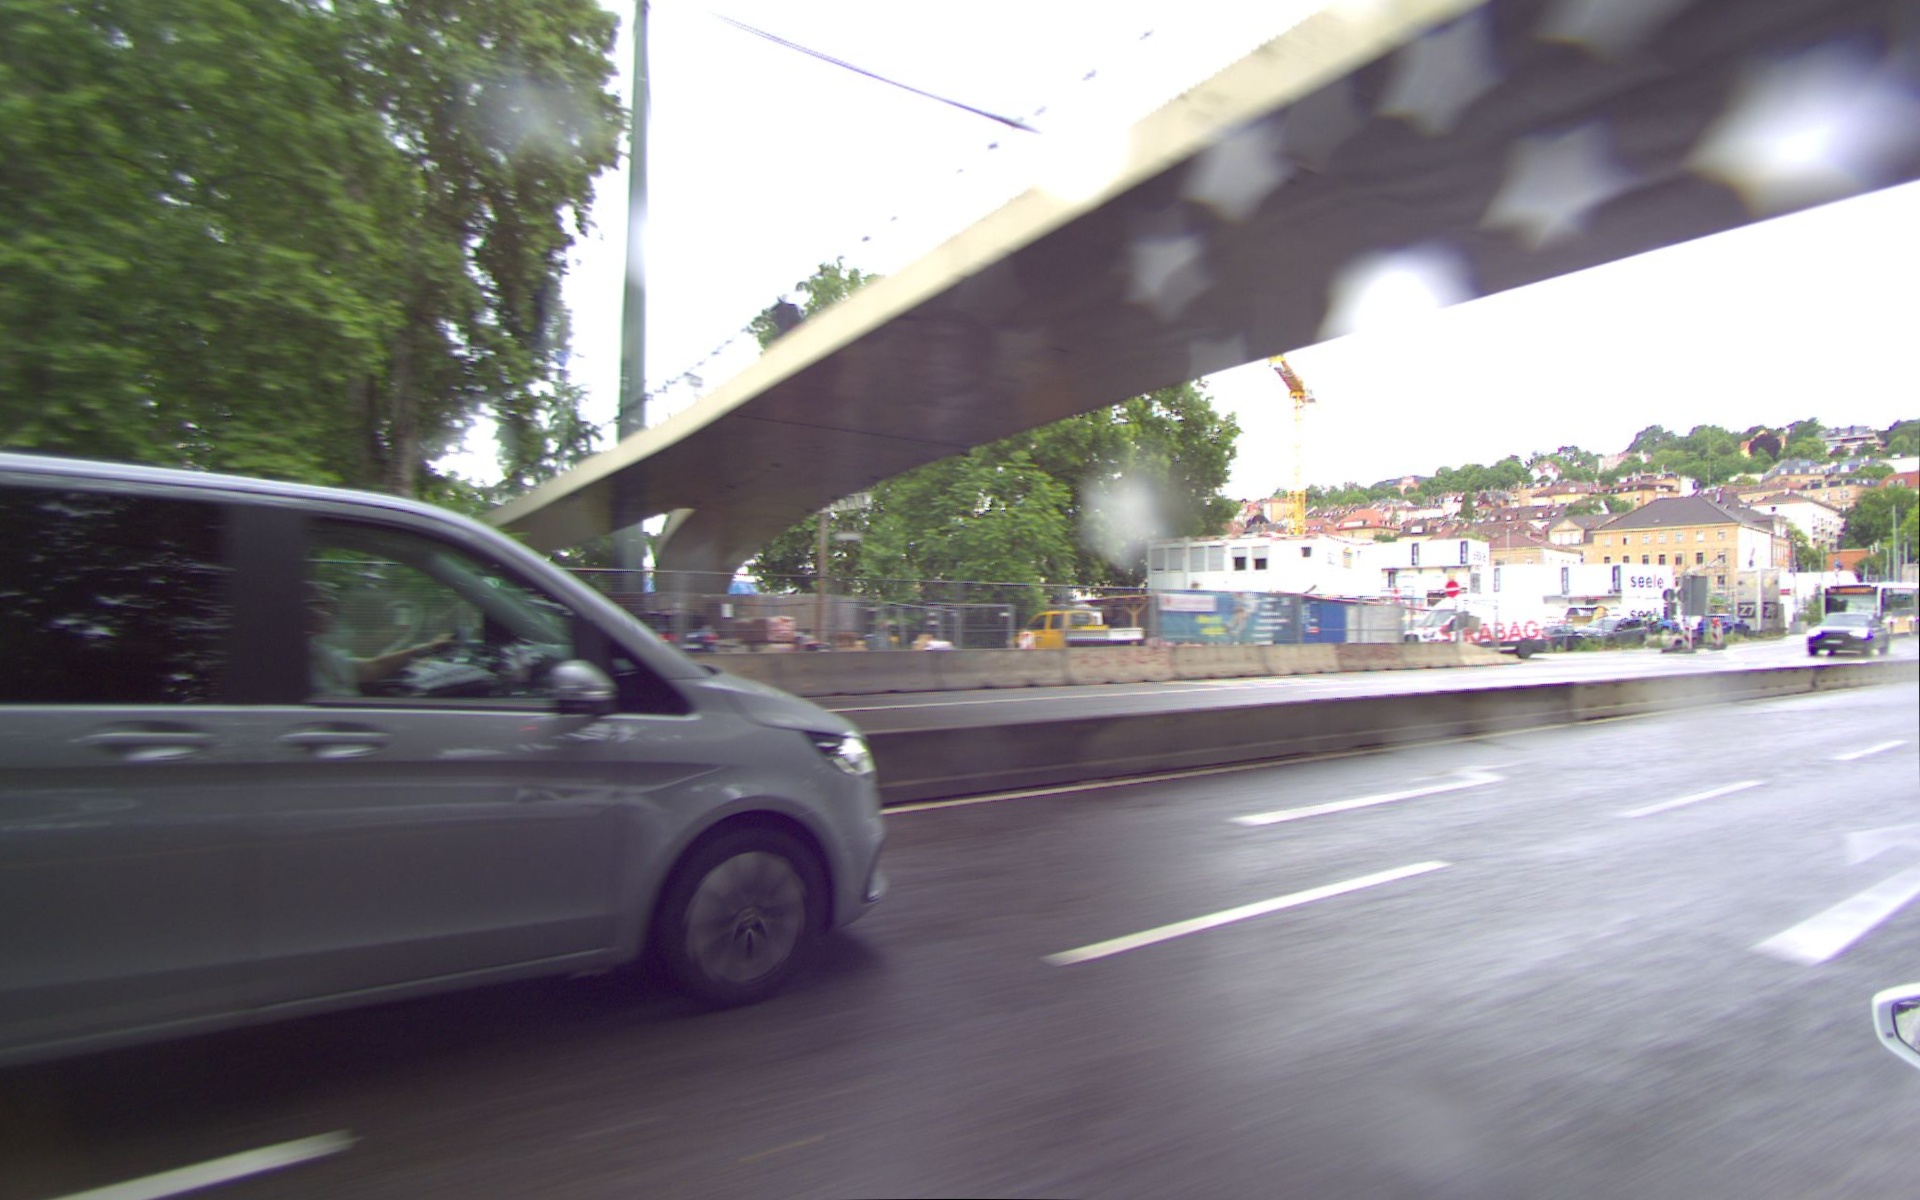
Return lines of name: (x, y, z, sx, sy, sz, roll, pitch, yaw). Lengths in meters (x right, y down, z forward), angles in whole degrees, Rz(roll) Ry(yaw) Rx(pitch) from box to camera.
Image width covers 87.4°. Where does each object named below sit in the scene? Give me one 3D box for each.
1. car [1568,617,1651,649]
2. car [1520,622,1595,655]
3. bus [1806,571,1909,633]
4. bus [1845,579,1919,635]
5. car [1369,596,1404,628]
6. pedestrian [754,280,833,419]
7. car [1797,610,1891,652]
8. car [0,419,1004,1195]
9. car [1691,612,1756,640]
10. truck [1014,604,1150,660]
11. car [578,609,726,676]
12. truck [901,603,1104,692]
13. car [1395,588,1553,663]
car: (34.708, 1.766, 53.673, 4.625, 1.586, 1.755, 2, -3, -28)
car: (30.440, 1.928, 51.154, 4.133, 1.586, 1.750, 0, -1, -35)
bus: (50.538, 0.213, 56.476, 8.729, 3.226, 2.785, 2, -2, -38)
bus: (57.528, 0.524, 62.023, 9.069, 3.193, 2.683, 2, -2, -38)
car: (41.688, 1.235, 98.040, 1.968, 2.867, 5.294, -1, -3, 37)
pedestrian: (-3.033, -4.499, 18.222, 1.047, 2.087, 1.143, 2, -3, -29)
car: (36.918, 1.290, 41.907, 4.809, 1.652, 2.066, 1, -2, -38)
car: (-2.536, 0.512, 3.508, 5.307, 1.881, 1.979, 2, -1, -36)
car: (46.244, 1.548, 60.799, 3.958, 1.643, 1.981, 0, -1, -34)
truck: (4.660, 1.252, 39.109, 2.147, 2.040, 5.201, 2, -3, -41)
car: (-8.389, 1.136, 27.159, 4.377, 1.649, 1.947, -2, -3, 44)
truck: (1.193, 1.451, 31.353, 2.677, 2.484, 6.215, 3, -4, -44)
car: (21.441, 1.099, 41.990, 5.944, 2.913, 1.997, 1, -2, -11)
